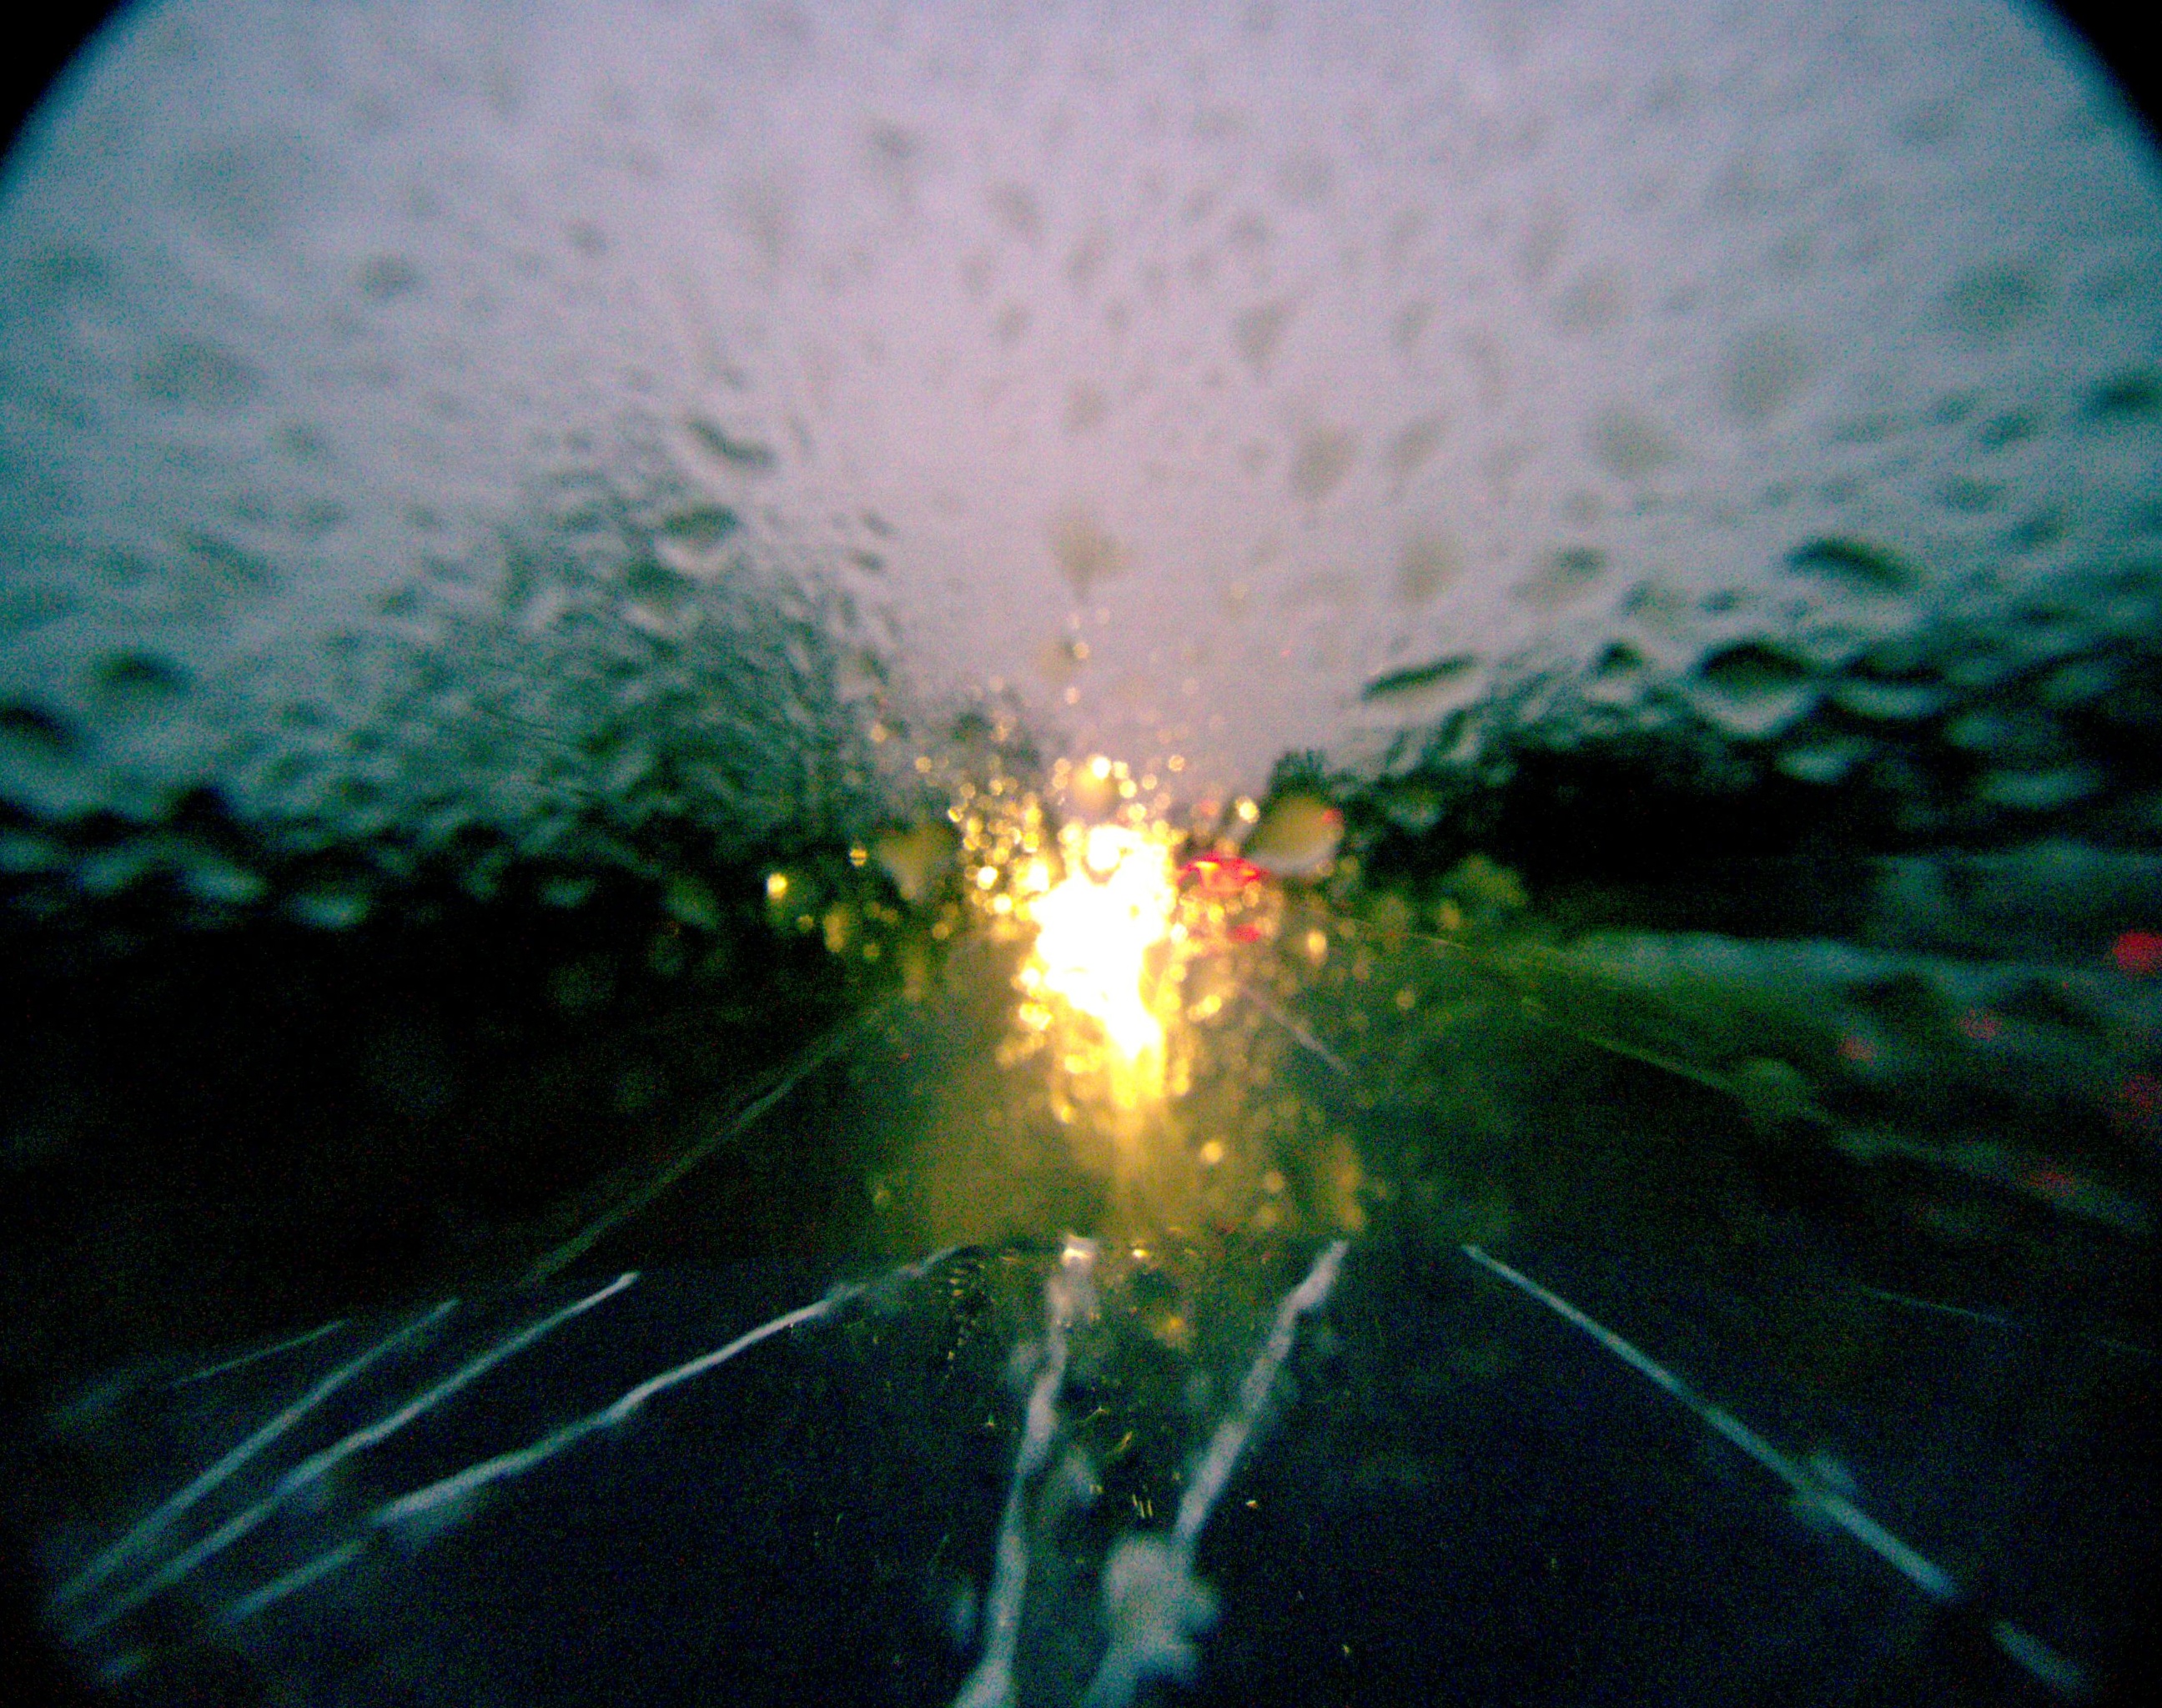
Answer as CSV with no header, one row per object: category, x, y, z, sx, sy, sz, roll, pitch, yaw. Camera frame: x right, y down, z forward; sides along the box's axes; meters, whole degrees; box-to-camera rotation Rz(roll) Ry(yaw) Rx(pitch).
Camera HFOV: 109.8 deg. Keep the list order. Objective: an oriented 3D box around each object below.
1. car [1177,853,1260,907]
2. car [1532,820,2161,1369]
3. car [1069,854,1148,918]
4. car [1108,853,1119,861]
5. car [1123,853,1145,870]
car,4.230,0.756,24.054,1.830,1.490,4.095,-2,0,0
car,4.141,0.700,3.179,1.763,1.631,4.686,-3,0,2
car,0.893,0.841,21.899,1.998,1.601,4.001,-3,0,5
car,5.857,0.503,135.835,1.821,1.433,3.457,-3,0,5
car,4.830,0.650,69.506,1.755,1.465,3.891,-2,0,1
